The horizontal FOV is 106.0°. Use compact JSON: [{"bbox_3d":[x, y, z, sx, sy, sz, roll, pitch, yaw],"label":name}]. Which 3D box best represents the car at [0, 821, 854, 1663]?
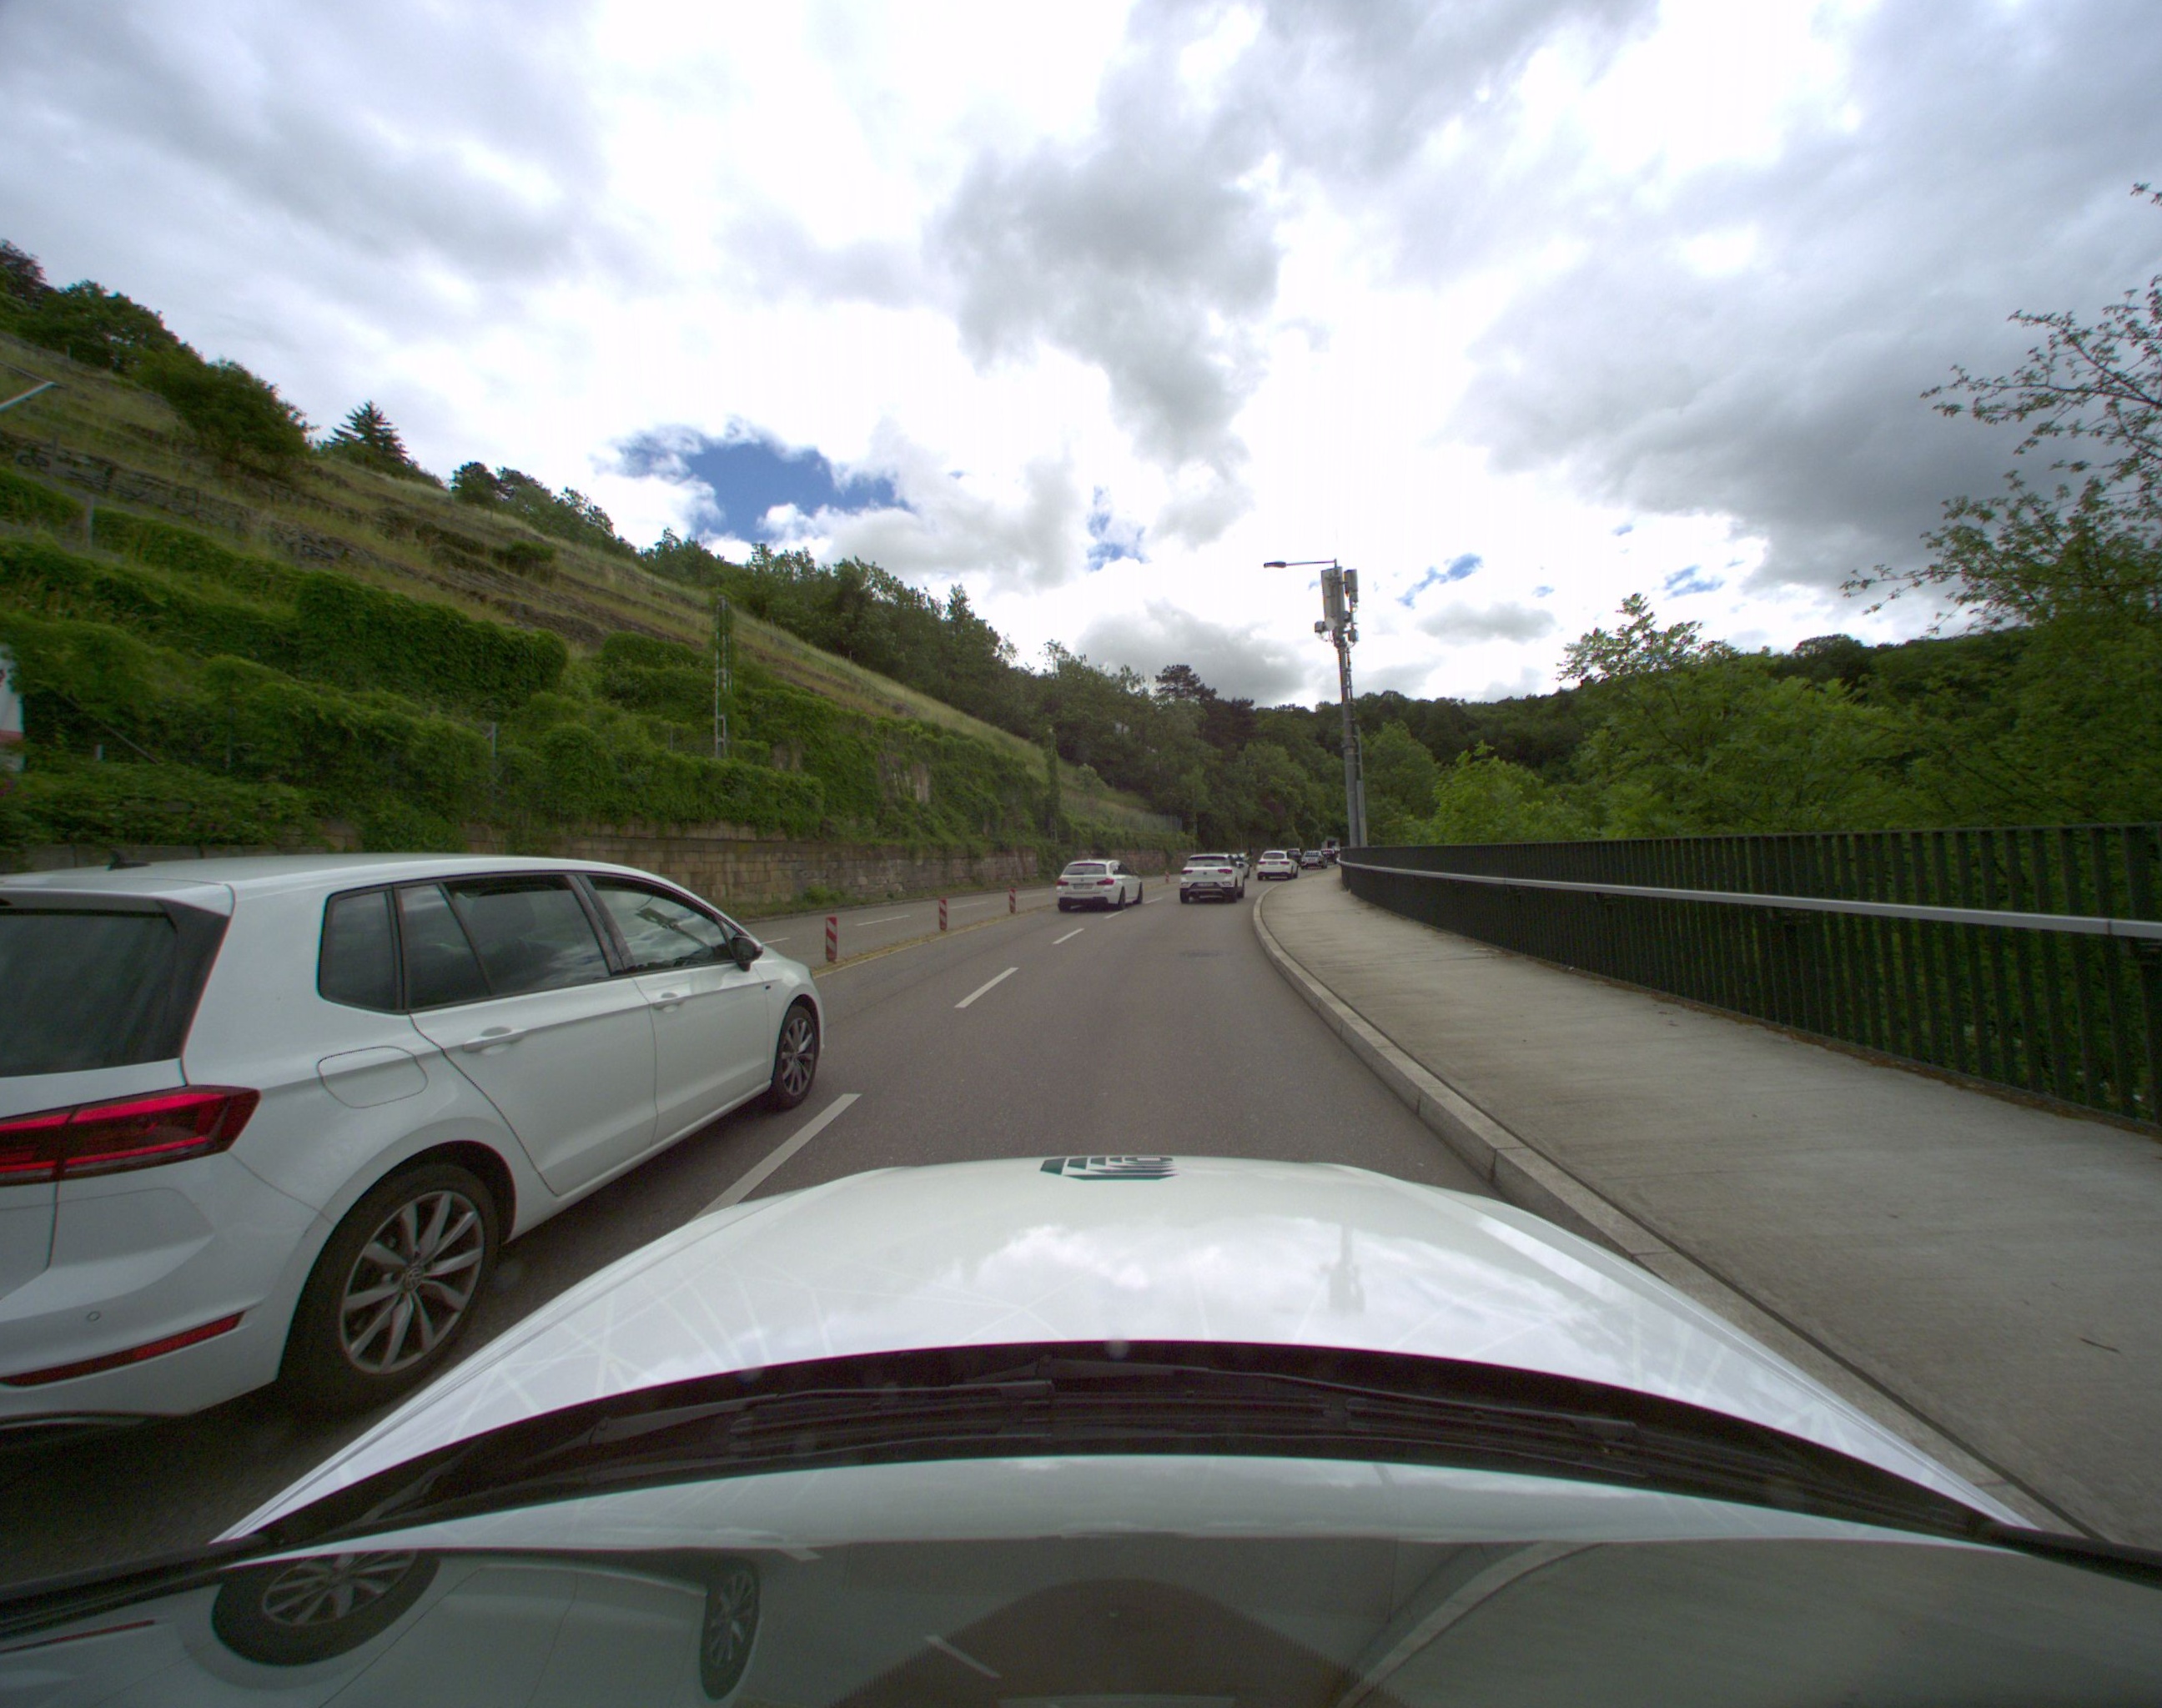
[{"bbox_3d":[-2.687,0.752,3.754,1.813,1.580,4.360,-1,0,3],"label":"car"}]

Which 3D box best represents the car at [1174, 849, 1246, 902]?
[{"bbox_3d":[4.330,0.681,26.901,1.814,1.606,4.017,-2,-1,16],"label":"car"}]

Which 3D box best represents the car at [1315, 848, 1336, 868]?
[{"bbox_3d":[23.372,0.391,77.782,1.729,1.781,3.552,-1,-1,20],"label":"car"}]

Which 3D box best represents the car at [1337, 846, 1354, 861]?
[{"bbox_3d":[34.267,-0.018,105.440,1.977,1.860,4.020,-1,-1,20],"label":"car"}]

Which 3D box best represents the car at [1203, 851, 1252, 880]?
[{"bbox_3d":[8.533,0.628,47.156,1.977,1.503,4.691,1,1,20],"label":"car"}]

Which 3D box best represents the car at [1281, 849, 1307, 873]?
[{"bbox_3d":[19.545,0.650,74.676,1.978,2.013,4.018,-5,-1,18],"label":"car"}]

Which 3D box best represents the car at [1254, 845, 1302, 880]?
[{"bbox_3d":[11.050,0.478,45.443,1.977,1.718,4.134,-6,-2,20],"label":"car"}]

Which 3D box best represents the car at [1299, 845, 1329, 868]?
[{"bbox_3d":[18.515,0.173,64.726,1.977,1.717,4.020,-1,-1,20],"label":"car"}]

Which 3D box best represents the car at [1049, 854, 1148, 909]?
[{"bbox_3d":[0.640,0.765,24.391,1.814,1.459,4.505,-1,0,16],"label":"car"}]
